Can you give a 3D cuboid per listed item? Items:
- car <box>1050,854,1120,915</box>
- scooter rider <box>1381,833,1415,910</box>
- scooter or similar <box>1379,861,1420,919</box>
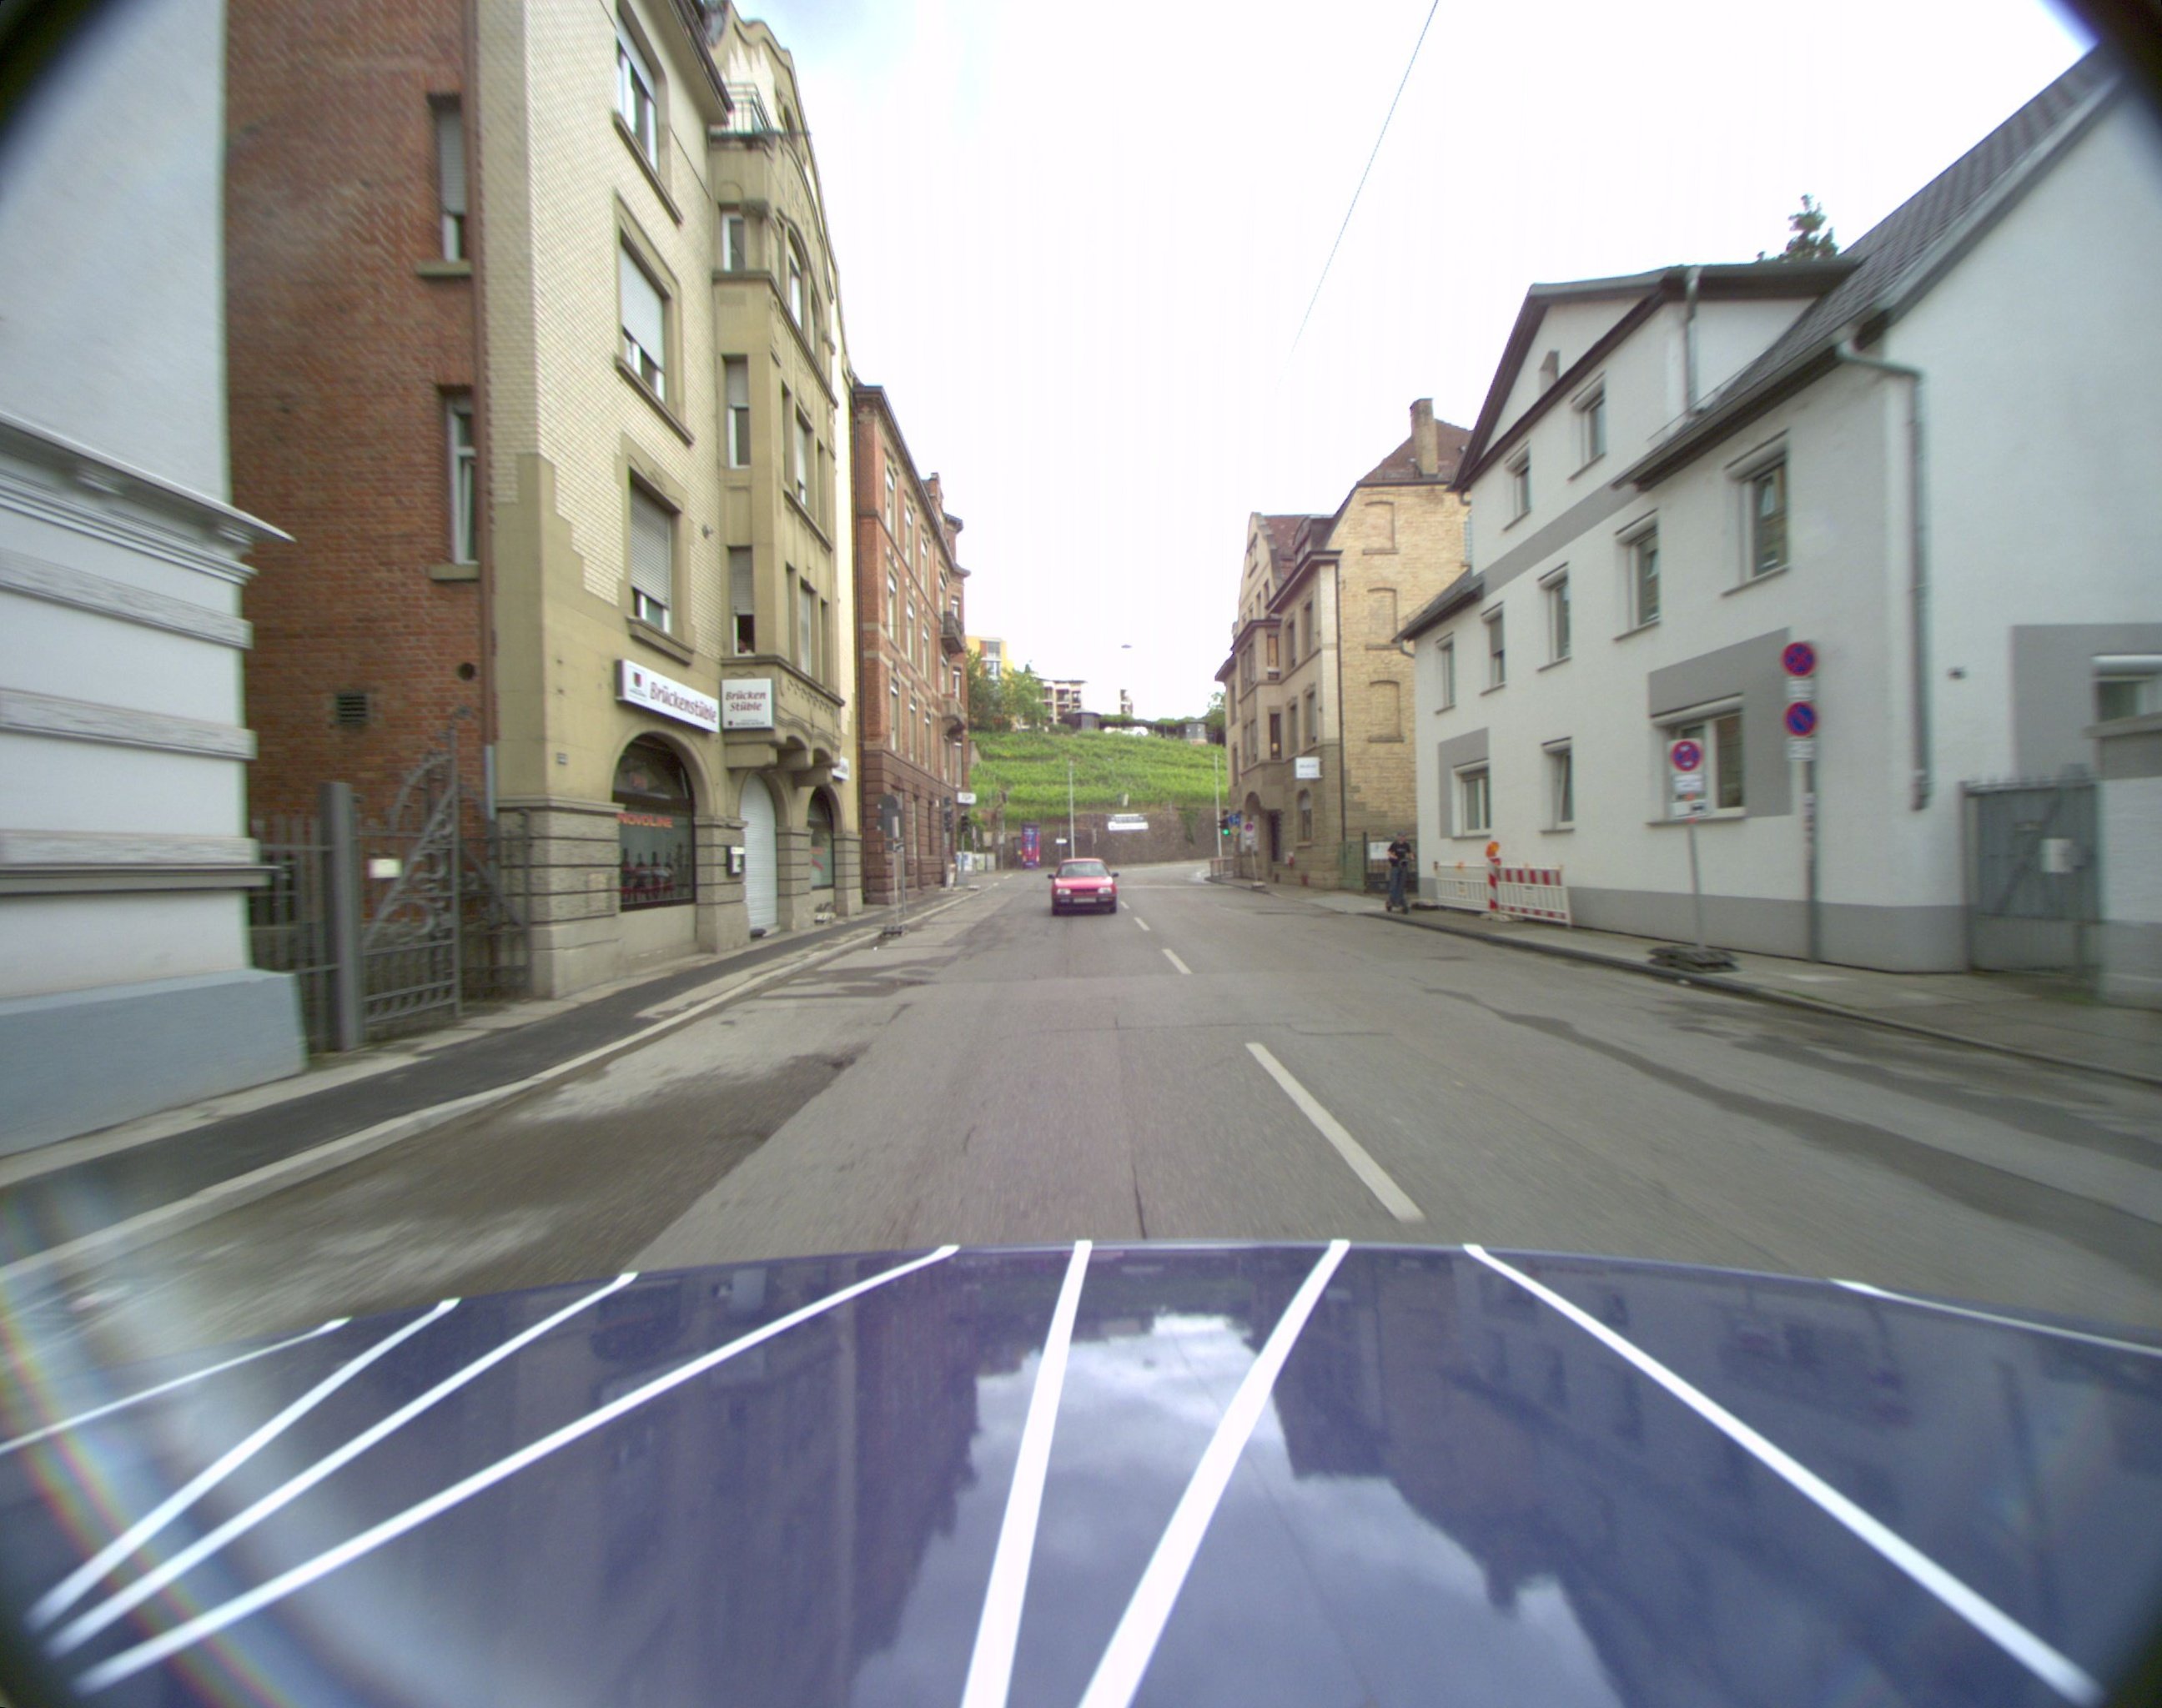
[{"bbox_3d":[0.103,0.750,20.682,1.646,1.430,4.000,-3,0,0],"label":"car"},{"bbox_3d":[7.123,0.386,17.084,0.488,1.695,0.577,-2,0,1],"label":"scooter rider"},{"bbox_3d":[7.144,0.784,17.081,0.379,1.235,1.226,-2,1,0],"label":"scooter or similar"}]
